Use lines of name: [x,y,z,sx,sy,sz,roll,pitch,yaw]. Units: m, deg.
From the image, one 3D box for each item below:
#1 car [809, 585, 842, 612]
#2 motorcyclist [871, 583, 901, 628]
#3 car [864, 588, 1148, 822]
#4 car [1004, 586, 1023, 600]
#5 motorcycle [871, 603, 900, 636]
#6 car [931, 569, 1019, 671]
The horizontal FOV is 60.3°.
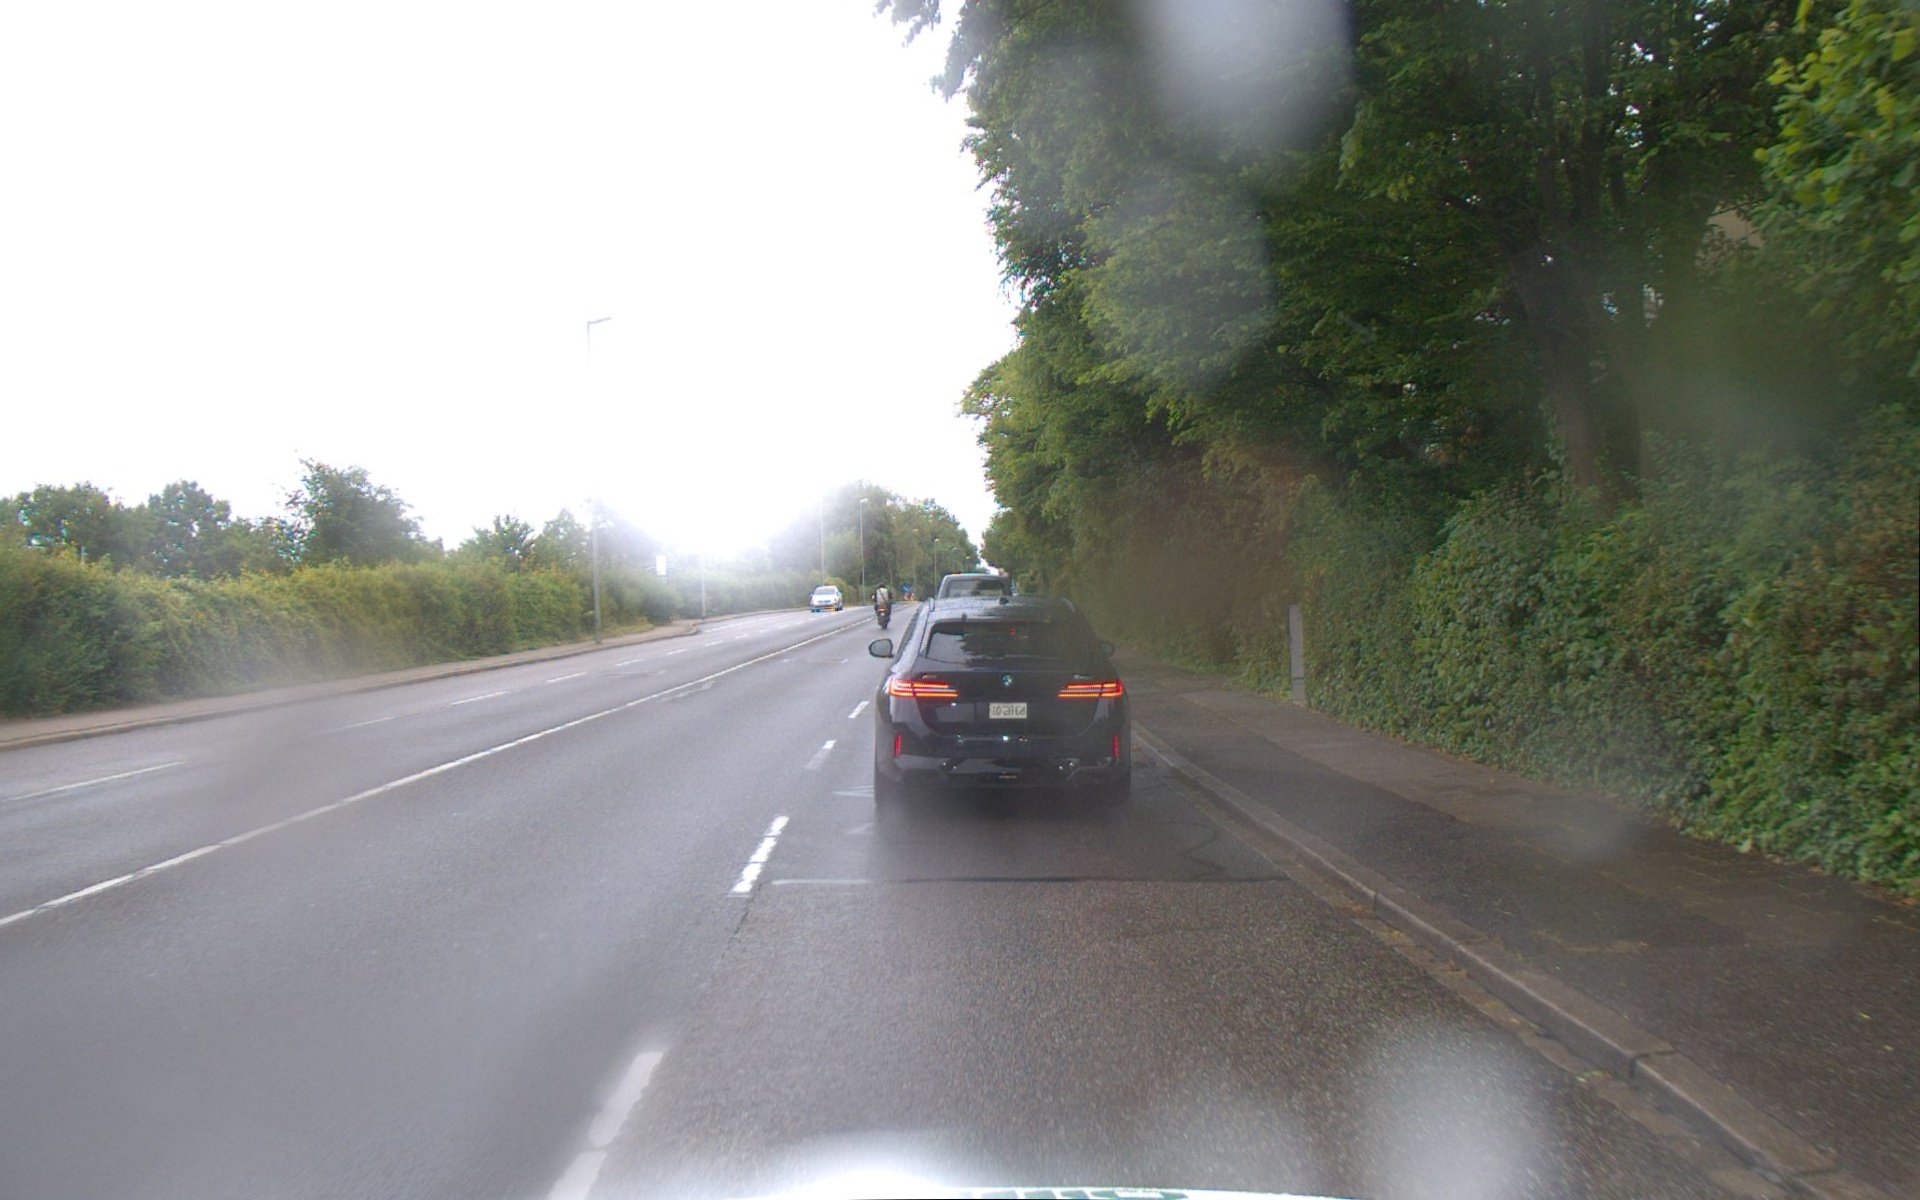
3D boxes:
car: [-8.544,-0.105,105.266,1.720,1.595,3.999,-3,1,-1]
motorcyclist: [-2.633,0.190,58.958,1.018,1.595,0.855,0,-1,0]
car: [0.364,0.684,12.894,1.858,1.515,4.001,1,0,2]
car: [5.654,-0.745,175.074,1.895,1.467,4.410,-2,0,3]
motorcycle: [-2.644,0.680,58.957,0.858,1.144,2.741,0,0,1]
car: [0.301,0.360,33.265,1.595,1.865,4.000,-2,1,1]
